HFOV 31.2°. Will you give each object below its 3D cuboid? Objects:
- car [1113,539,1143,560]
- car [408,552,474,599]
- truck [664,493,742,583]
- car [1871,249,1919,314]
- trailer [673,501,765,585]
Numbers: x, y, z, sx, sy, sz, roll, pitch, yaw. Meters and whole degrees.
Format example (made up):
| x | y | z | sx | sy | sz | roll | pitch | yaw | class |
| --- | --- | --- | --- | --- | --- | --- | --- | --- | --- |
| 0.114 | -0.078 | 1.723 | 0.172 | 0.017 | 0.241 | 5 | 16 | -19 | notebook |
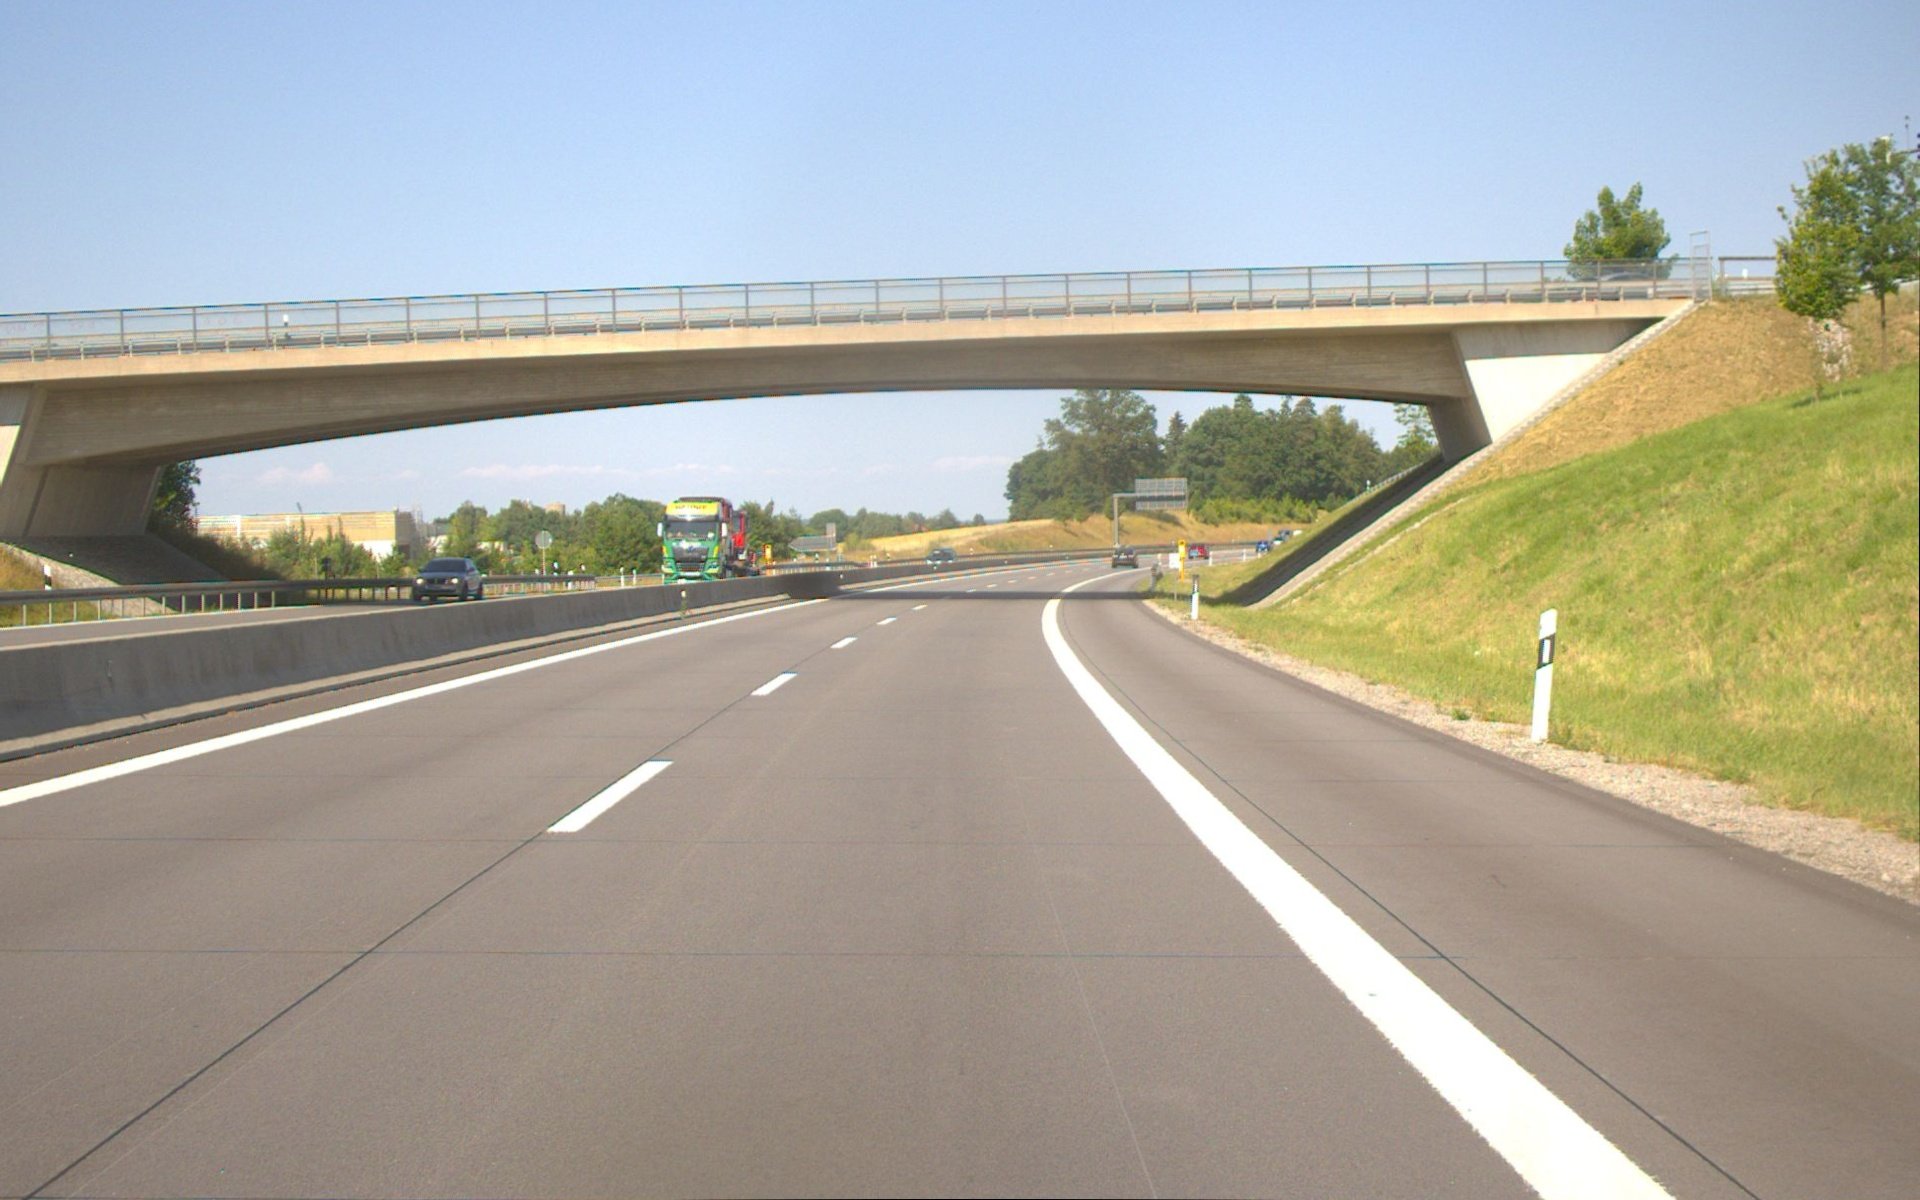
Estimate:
| x | y | z | sx | sy | sz | roll | pitch | yaw | class |
| --- | --- | --- | --- | --- | --- | --- | --- | --- | --- |
| 12.054 | -3.652 | 246.624 | 1.993 | 1.415 | 4.000 | -2 | 1 | 2 | car |
| -17.187 | -0.838 | 114.004 | 1.861 | 1.525 | 4.569 | 0 | 1 | -5 | car |
| -11.099 | -2.696 | 148.910 | 2.735 | 3.818 | 5.831 | 0 | 1 | 2 | truck |
| 31.077 | -10.057 | 108.265 | 4.122 | 1.875 | 2.001 | -2 | 2 | -10 | car |
| -10.821 | -2.580 | 155.578 | 2.665 | 3.645 | 13.236 | 0 | 1 | 2 | trailer |
